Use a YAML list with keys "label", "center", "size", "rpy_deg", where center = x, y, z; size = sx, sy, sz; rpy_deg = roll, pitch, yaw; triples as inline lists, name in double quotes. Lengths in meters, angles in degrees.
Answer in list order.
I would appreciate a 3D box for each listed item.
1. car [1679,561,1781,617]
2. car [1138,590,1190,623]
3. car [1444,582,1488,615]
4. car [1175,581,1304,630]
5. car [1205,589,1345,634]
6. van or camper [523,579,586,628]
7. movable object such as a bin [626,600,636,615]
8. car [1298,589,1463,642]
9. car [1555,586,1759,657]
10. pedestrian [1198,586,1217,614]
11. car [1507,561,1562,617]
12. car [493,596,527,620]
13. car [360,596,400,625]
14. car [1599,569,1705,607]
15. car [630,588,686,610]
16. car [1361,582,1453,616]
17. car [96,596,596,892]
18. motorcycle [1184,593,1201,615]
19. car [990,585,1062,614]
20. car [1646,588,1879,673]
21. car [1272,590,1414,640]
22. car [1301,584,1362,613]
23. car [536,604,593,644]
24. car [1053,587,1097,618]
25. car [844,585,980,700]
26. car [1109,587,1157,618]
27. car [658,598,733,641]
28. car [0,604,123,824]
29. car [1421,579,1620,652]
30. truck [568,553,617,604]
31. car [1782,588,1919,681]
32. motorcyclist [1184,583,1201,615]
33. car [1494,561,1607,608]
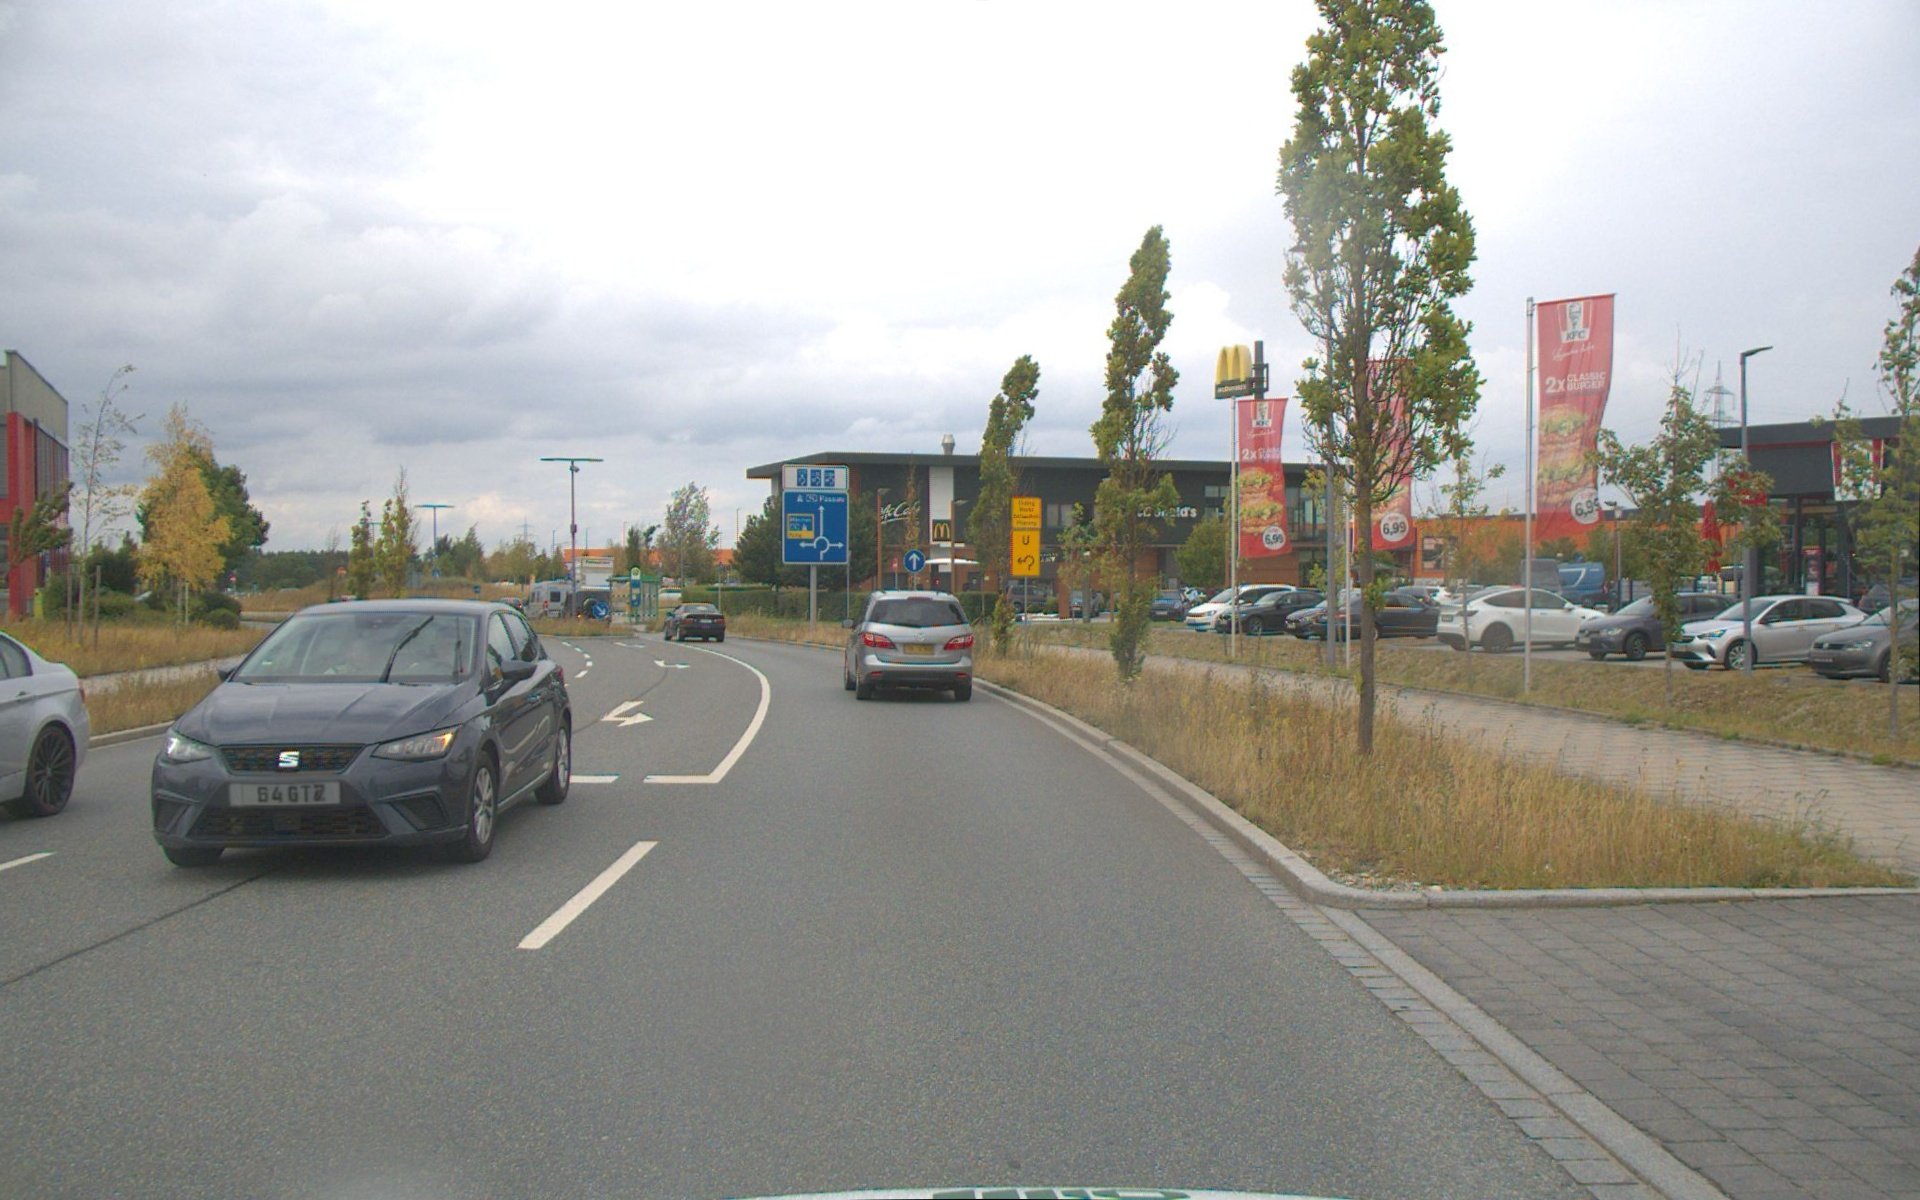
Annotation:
- label: "car"
  center: [34.551, -0.516, 74.417]
  size: [2.474, 2.392, 5.696]
  rpy_deg: [-1, 1, 6]
- label: "car"
  center: [8.797, 0.270, 71.100]
  size: [1.772, 1.336, 3.853]
  rpy_deg: [-1, 1, 14]
- label: "car"
  center: [24.153, -0.085, 78.862]
  size: [1.909, 1.468, 4.221]
  rpy_deg: [-1, 0, 18]
- label: "car"
  center: [10.112, 0.182, 59.918]
  size: [4.290, 1.668, 1.923]
  rpy_deg: [-1, 1, -24]
- label: "car"
  center: [10.943, 0.379, 57.551]
  size: [4.404, 1.461, 2.061]
  rpy_deg: [-1, 1, -21]
- label: "van or camper"
  center: [-21.842, 0.157, 88.961]
  size: [2.274, 2.550, 5.163]
  rpy_deg: [0, 0, -26]
- label: "movable object such as a bin"
  center: [-17.528, 0.398, 88.052]
  size: [0.450, 0.812, 0.377]
  rpy_deg: [0, 0, -26]
- label: "car"
  center: [12.663, 0.446, 49.840]
  size: [4.447, 1.494, 2.022]
  rpy_deg: [-1, 1, -18]
- label: "car"
  center: [16.072, 0.481, 38.247]
  size: [3.914, 1.510, 1.936]
  rpy_deg: [-1, 0, -9]
- label: "pedestrian"
  center: [13.067, 0.023, 87.290]
  size: [0.755, 1.464, 0.622]
  rpy_deg: [-1, 0, 35]
- label: "car"
  center: [27.432, -0.540, 79.167]
  size: [2.226, 2.545, 7.333]
  rpy_deg: [-1, 1, 17]
- label: "car"
  center: [-28.951, 0.499, 106.502]
  size: [1.959, 1.542, 3.987]
  rpy_deg: [-1, 0, -13]
- label: "car"
  center: [-36.130, 0.655, 102.990]
  size: [1.777, 1.698, 4.290]
  rpy_deg: [-3, 1, -26]
- label: "car"
  center: [34.892, -0.611, 83.495]
  size: [1.850, 1.847, 4.619]
  rpy_deg: [-1, 0, -42]
- label: "car"
  center: [-25.857, -0.091, 141.575]
  size: [4.525, 1.788, 1.992]
  rpy_deg: [0, 0, -15]
- label: "car"
  center: [23.658, -0.056, 87.611]
  size: [4.618, 1.685, 2.001]
  rpy_deg: [-1, 0, 16]
- label: "car"
  center: [-3.506, 0.705, 10.341]
  size: [1.793, 1.445, 4.242]
  rpy_deg: [0, 0, -4]
- label: "motorcycle"
  center: [13.545, 0.225, 96.238]
  size: [0.838, 1.266, 1.968]
  rpy_deg: [0, 0, 13]
- label: "car"
  center: [4.014, -0.031, 100.968]
  size: [3.936, 1.747, 1.984]
  rpy_deg: [0, 0, -25]
- label: "car"
  center: [16.121, 0.588, 33.308]
  size: [3.789, 1.507, 1.899]
  rpy_deg: [-2, 0, -8]
- label: "car"
  center: [12.203, 0.446, 52.777]
  size: [4.023, 1.463, 1.932]
  rpy_deg: [-1, 1, -20]
- label: "car"
  center: [22.668, -0.088, 100.799]
  size: [1.965, 1.752, 3.975]
  rpy_deg: [0, 0, 42]
- label: "car"
  center: [-19.259, 1.144, 80.472]
  size: [2.030, 1.858, 4.753]
  rpy_deg: [0, 0, -22]
- label: "car"
  center: [6.566, 0.128, 93.762]
  size: [1.951, 1.747, 4.003]
  rpy_deg: [0, 0, 12]
- label: "car"
  center: [-0.809, 0.606, 25.470]
  size: [1.697, 1.628, 3.800]
  rpy_deg: [1, 0, -8]
- label: "car"
  center: [10.070, 0.139, 95.893]
  size: [2.071, 1.747, 4.233]
  rpy_deg: [0, 0, 16]
- label: "car"
  center: [-9.537, 0.667, 59.381]
  size: [1.819, 1.443, 4.197]
  rpy_deg: [-1, 1, -21]
- label: "car"
  center: [-7.220, 0.789, 10.393]
  size: [1.800, 1.442, 4.496]
  rpy_deg: [-2, 0, -3]
- label: "car"
  center: [14.572, 0.376, 43.079]
  size: [4.483, 1.673, 2.081]
  rpy_deg: [-2, 1, -13]
- label: "truck"
  center: [-29.642, -1.700, 133.152]
  size: [3.084, 3.975, 9.289]
  rpy_deg: [-1, 0, -17]
- label: "car"
  center: [16.468, 0.564, 28.510]
  size: [3.685, 1.520, 1.887]
  rpy_deg: [-1, 0, -6]
- label: "motorcyclist"
  center: [13.540, -0.070, 96.252]
  size: [0.940, 1.864, 0.846]
  rpy_deg: [0, 0, 13]
- label: "car"
  center: [33.776, -0.881, 94.682]
  size: [5.907, 2.572, 2.280]
  rpy_deg: [0, 1, 25]
